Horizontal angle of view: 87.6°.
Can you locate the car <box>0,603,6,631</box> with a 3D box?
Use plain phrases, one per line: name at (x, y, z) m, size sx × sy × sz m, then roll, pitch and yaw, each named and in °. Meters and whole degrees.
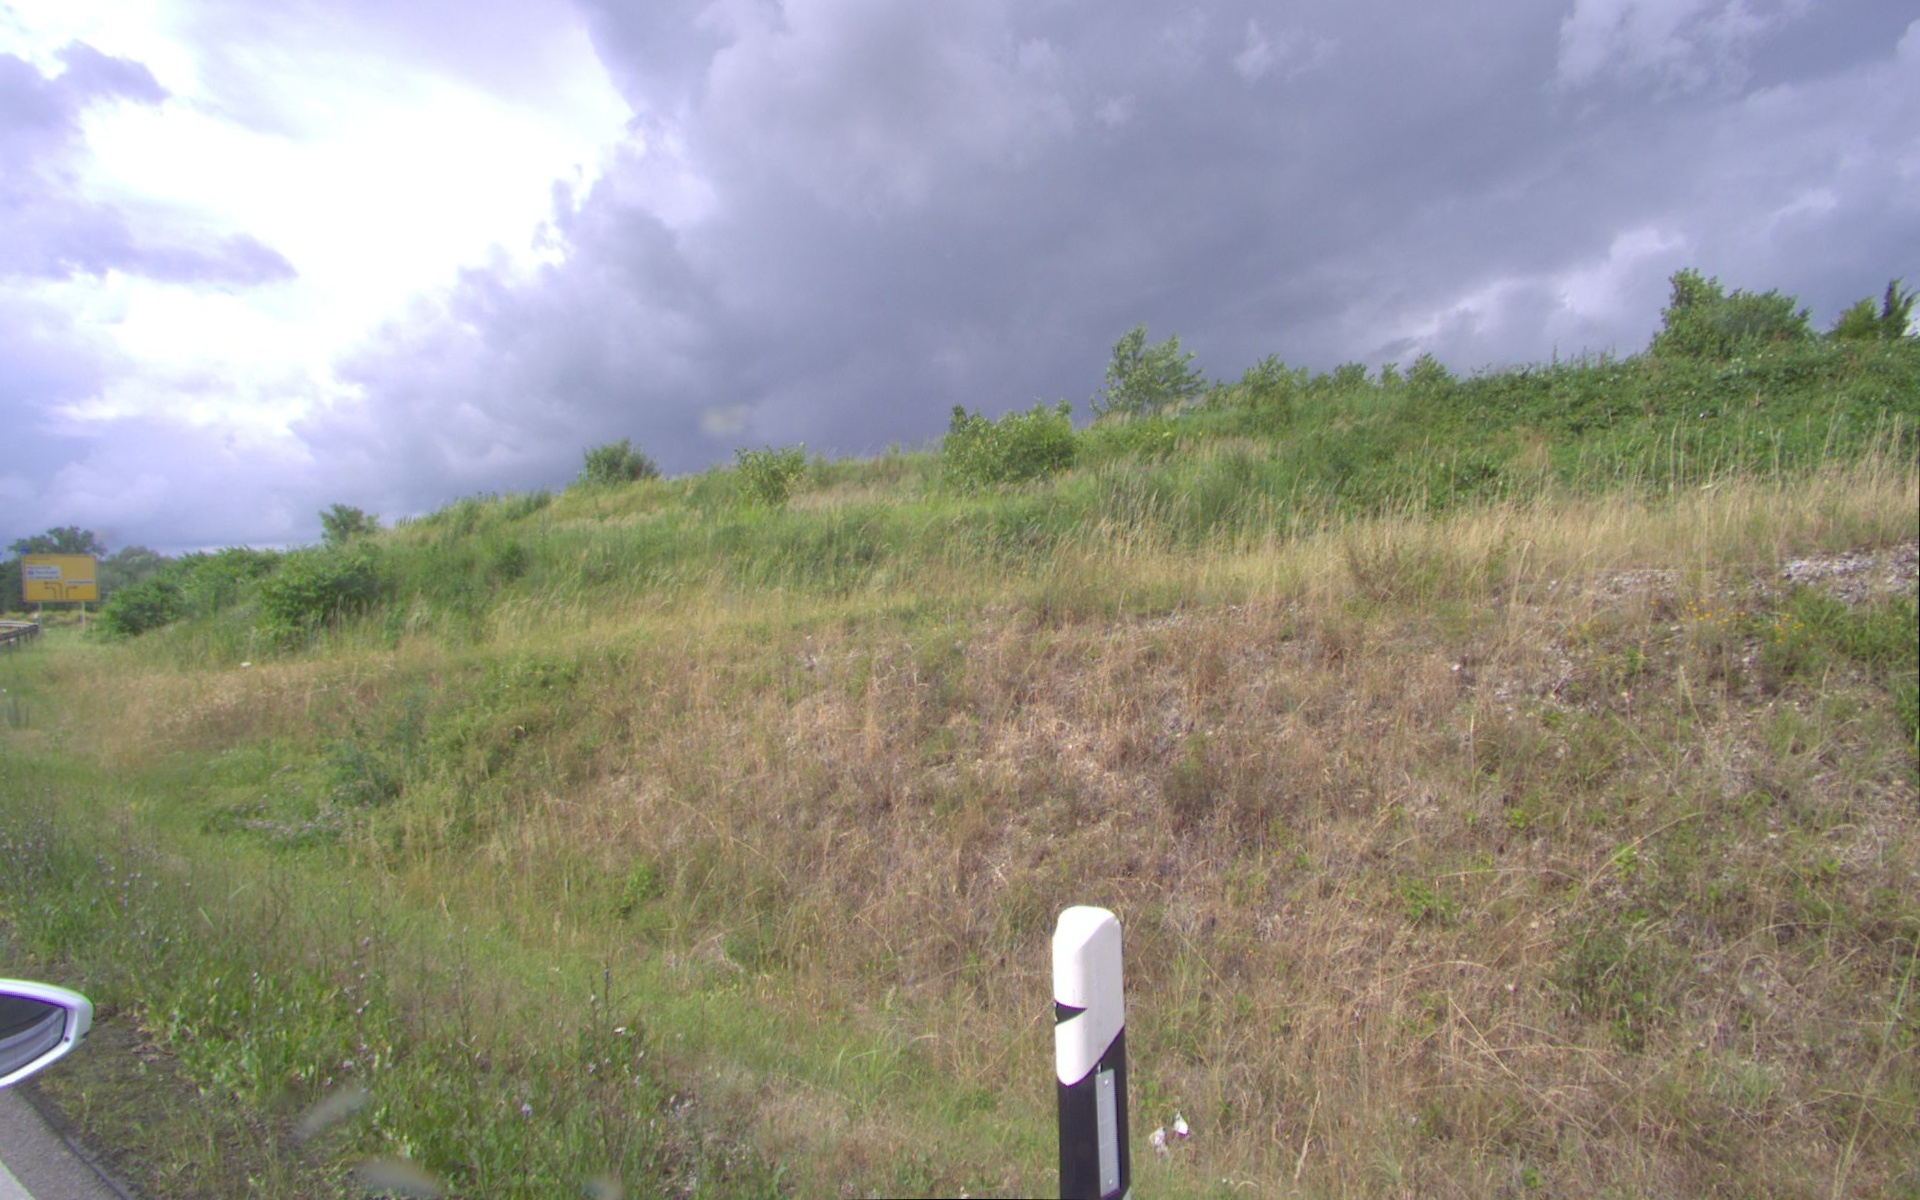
car at (-66.987, 1.172, 68.678) m, size 4.448 × 1.906 × 2.083 m, roll -2°, pitch -2°, yaw 44°
